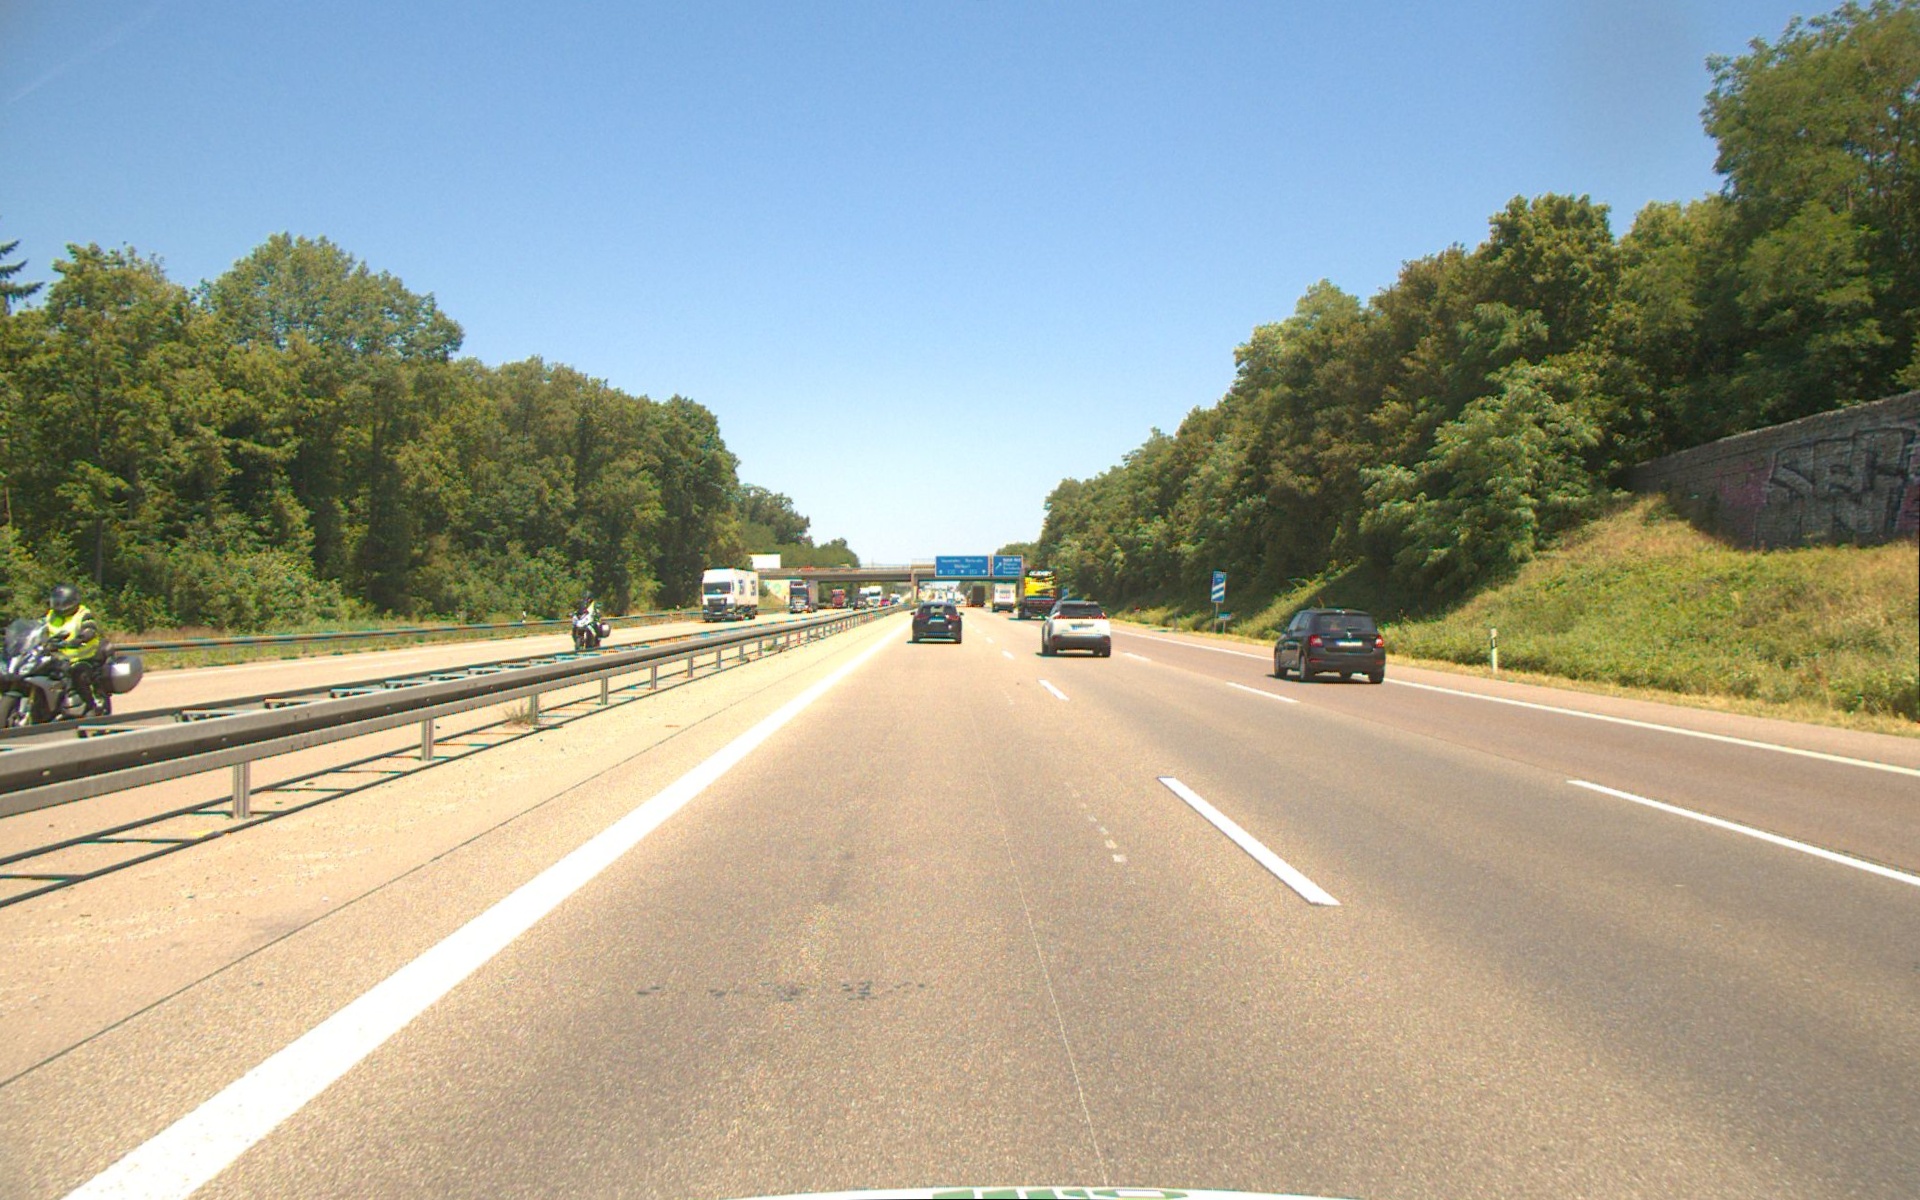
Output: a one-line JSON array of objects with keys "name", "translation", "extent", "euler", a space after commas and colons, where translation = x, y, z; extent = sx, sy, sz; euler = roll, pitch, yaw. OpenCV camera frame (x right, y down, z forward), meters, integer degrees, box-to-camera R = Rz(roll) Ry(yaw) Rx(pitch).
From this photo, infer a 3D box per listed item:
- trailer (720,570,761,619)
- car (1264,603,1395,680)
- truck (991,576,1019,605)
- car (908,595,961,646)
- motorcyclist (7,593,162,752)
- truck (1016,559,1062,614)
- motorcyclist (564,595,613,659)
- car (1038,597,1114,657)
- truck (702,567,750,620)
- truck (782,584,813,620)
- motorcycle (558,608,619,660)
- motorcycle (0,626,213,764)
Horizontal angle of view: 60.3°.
[{"name": "trailer", "translation": [-18.859, -0.475, 142.455], "extent": [2.526, 4.059, 8.557], "euler": [1, 0, -1]}, {"name": "car", "translation": [7.623, 0.812, 34.510], "extent": [1.636, 1.473, 4.573], "euler": [1, 0, -1]}, {"name": "truck", "translation": [5.537, -1.096, 201.162], "extent": [2.965, 3.377, 10.775], "euler": [1, 0, 4]}, {"name": "car", "translation": [-0.895, 0.719, 58.880], "extent": [1.790, 1.736, 3.999], "euler": [1, 0, -1]}, {"name": "motorcyclist", "translation": [-9.332, 0.757, 17.689], "extent": [1.020, 1.627, 1.151], "euler": [1, 0, -1]}, {"name": "truck", "translation": [6.205, -1.029, 131.412], "extent": [2.914, 4.107, 10.979], "euler": [2, 0, -1]}, {"name": "motorcyclist", "translation": [-9.706, 0.705, 43.244], "extent": [1.020, 1.627, 1.151], "euler": [1, 0, -1]}, {"name": "car", "translation": [3.289, 0.747, 47.630], "extent": [1.790, 1.636, 4.807], "euler": [0, 0, -1]}, {"name": "truck", "translation": [-18.731, -0.472, 133.043], "extent": [2.528, 4.078, 10.336], "euler": [1, 0, -1]}, {"name": "truck", "translation": [-20.432, 0.317, 208.630], "extent": [3.256, 4.417, 6.611], "euler": [1, 0, -1]}, {"name": "motorcycle", "translation": [-9.694, 0.875, 43.230], "extent": [1.013, 1.289, 2.577], "euler": [1, 0, -1]}, {"name": "motorcycle", "translation": [-9.349, 0.936, 17.689], "extent": [1.013, 1.259, 3.810], "euler": [1, 0, -1]}]
